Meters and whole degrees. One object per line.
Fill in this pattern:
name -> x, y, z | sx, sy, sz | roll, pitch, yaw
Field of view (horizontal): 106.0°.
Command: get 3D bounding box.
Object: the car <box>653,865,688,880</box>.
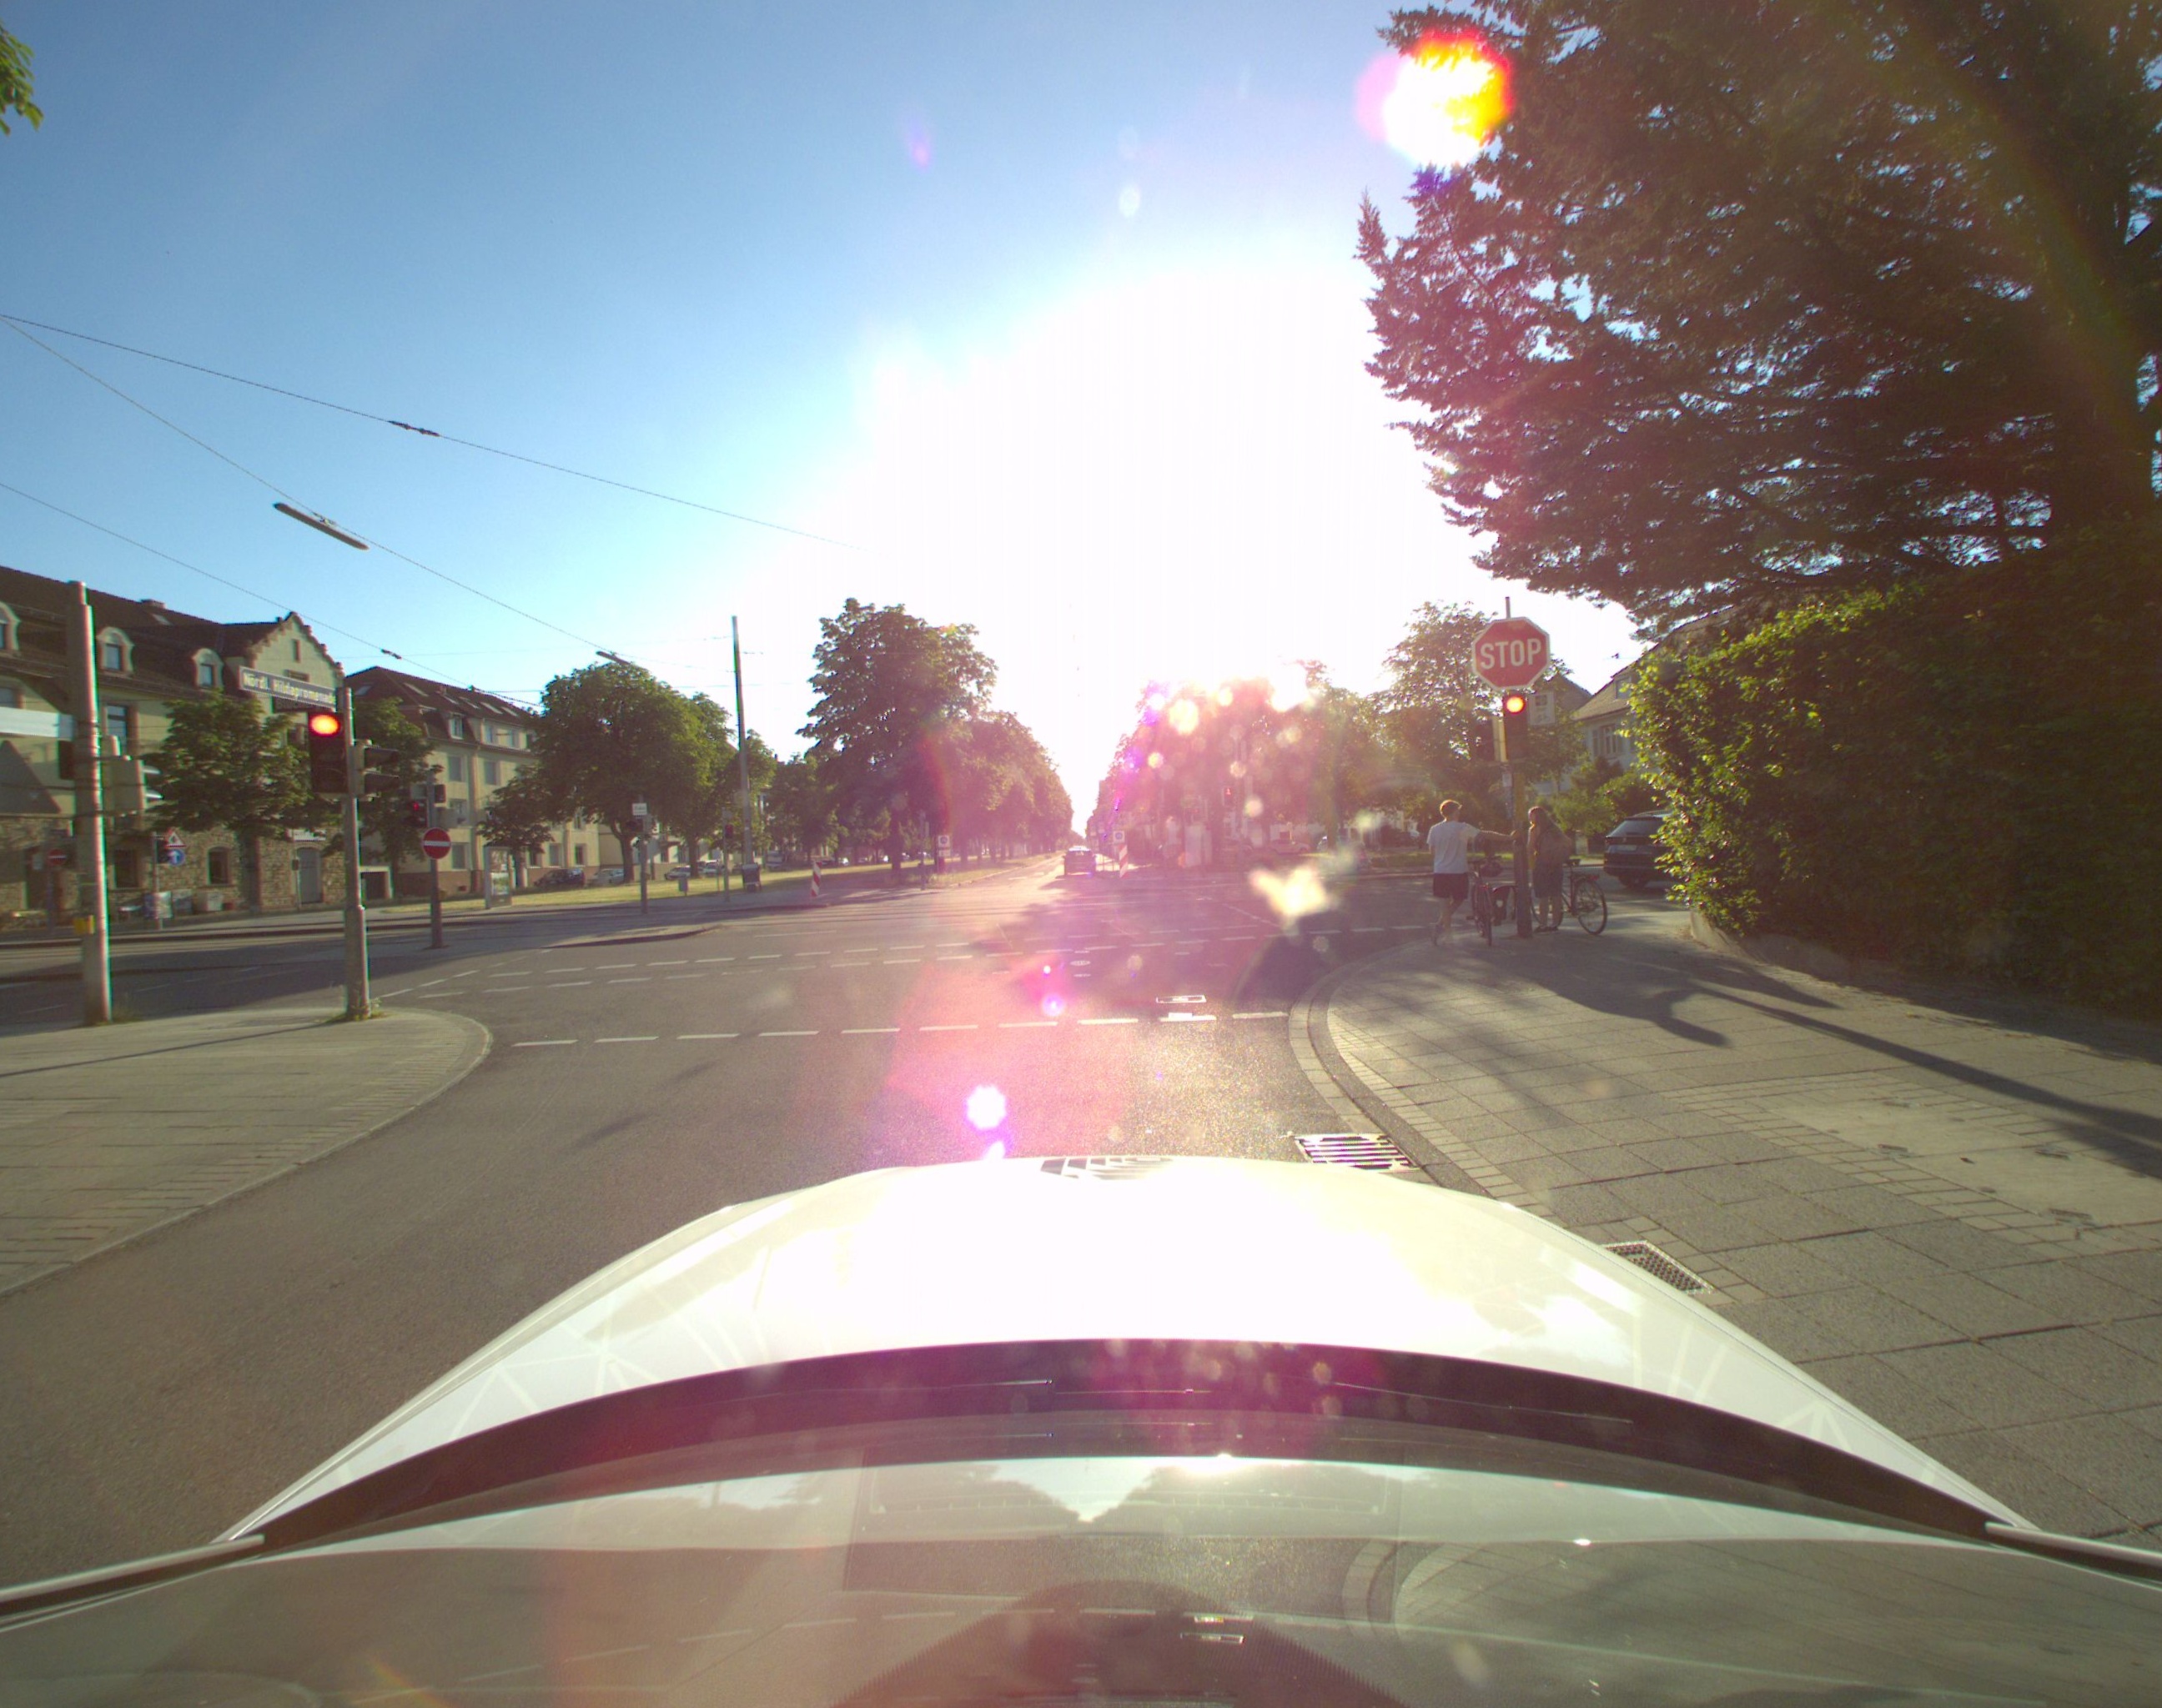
car -> -43.921, 2.003, 87.174 | 1.732, 1.427, 3.793 | -3, 0, 1

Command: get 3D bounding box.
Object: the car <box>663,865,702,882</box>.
car -> -37.333, 1.811, 76.371 | 1.732, 1.427, 3.793 | -2, 1, 1

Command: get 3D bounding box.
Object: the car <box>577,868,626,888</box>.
car -> -43.071, 2.147, 73.260 | 1.729, 1.427, 3.800 | -2, 2, 6

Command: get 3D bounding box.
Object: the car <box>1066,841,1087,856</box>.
car -> -0.432, -0.551, 77.979 | 1.839, 1.393, 3.829 | -2, 1, 1

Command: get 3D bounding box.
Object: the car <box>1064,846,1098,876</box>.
car -> 0.035, 0.349, 44.015 | 1.634, 1.450, 3.310 | -2, 1, 3

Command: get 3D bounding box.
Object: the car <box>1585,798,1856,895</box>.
car -> 13.276, -0.187, 17.025 | 4.548, 1.663, 1.874 | -3, 1, -10

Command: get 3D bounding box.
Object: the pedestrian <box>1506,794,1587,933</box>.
pedestrian -> 6.040, 0.129, 10.595 | 0.663, 1.708, 0.626 | -6, -2, 20

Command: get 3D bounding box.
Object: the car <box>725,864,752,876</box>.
car -> -43.533, 2.029, 103.539 | 1.732, 1.427, 3.793 | -2, 0, 1

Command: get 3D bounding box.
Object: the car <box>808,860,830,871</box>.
car -> -37.710, 1.602, 117.242 | 1.732, 1.427, 3.793 | -2, 0, 1

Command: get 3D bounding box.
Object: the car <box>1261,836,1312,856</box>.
car -> 16.383, -0.636, 65.026 | 3.656, 1.427, 1.529 | -2, 0, -4

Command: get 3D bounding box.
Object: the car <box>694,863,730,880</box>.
car -> -37.319, 1.773, 82.424 | 1.732, 1.427, 3.793 | -2, 2, 1

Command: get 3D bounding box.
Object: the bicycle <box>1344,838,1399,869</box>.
bicycle -> 11.646, -0.021, 32.703 | 1.946, 1.132, 0.620 | -3, 0, 2

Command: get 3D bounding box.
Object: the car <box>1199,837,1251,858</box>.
car -> 11.502, -0.513, 65.197 | 3.767, 1.525, 1.744 | -2, 2, 0

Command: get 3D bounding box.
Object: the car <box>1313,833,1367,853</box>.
car -> 20.894, -0.895, 65.693 | 3.838, 1.427, 1.595 | -2, 0, -4

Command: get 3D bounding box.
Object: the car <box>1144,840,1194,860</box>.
car -> 7.003, -0.315, 64.977 | 3.767, 1.427, 1.744 | -2, 2, 0

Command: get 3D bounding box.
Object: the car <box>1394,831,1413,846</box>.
car -> 33.070, -1.595, 83.450 | 1.649, 1.417, 3.563 | -2, 0, 24

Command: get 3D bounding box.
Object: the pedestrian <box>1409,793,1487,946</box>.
pedestrian -> 4.820, 0.201, 10.668 | 0.664, 1.865, 0.887 | -8, -3, 27

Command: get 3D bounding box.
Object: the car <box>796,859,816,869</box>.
car -> -43.091, 1.525, 127.625 | 1.732, 1.427, 3.793 | -2, 0, 1

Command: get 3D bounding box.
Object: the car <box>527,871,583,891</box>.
car -> -43.116, 2.221, 66.843 | 1.729, 1.397, 3.799 | -2, 0, 6

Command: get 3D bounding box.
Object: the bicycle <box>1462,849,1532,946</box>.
bicycle -> 5.293, 0.512, 10.445 | 0.483, 1.097, 1.800 | -5, -1, 20

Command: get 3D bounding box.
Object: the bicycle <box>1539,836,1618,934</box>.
bicycle -> 6.381, 0.377, 10.507 | 0.483, 1.143, 1.606 | -5, -2, 20
